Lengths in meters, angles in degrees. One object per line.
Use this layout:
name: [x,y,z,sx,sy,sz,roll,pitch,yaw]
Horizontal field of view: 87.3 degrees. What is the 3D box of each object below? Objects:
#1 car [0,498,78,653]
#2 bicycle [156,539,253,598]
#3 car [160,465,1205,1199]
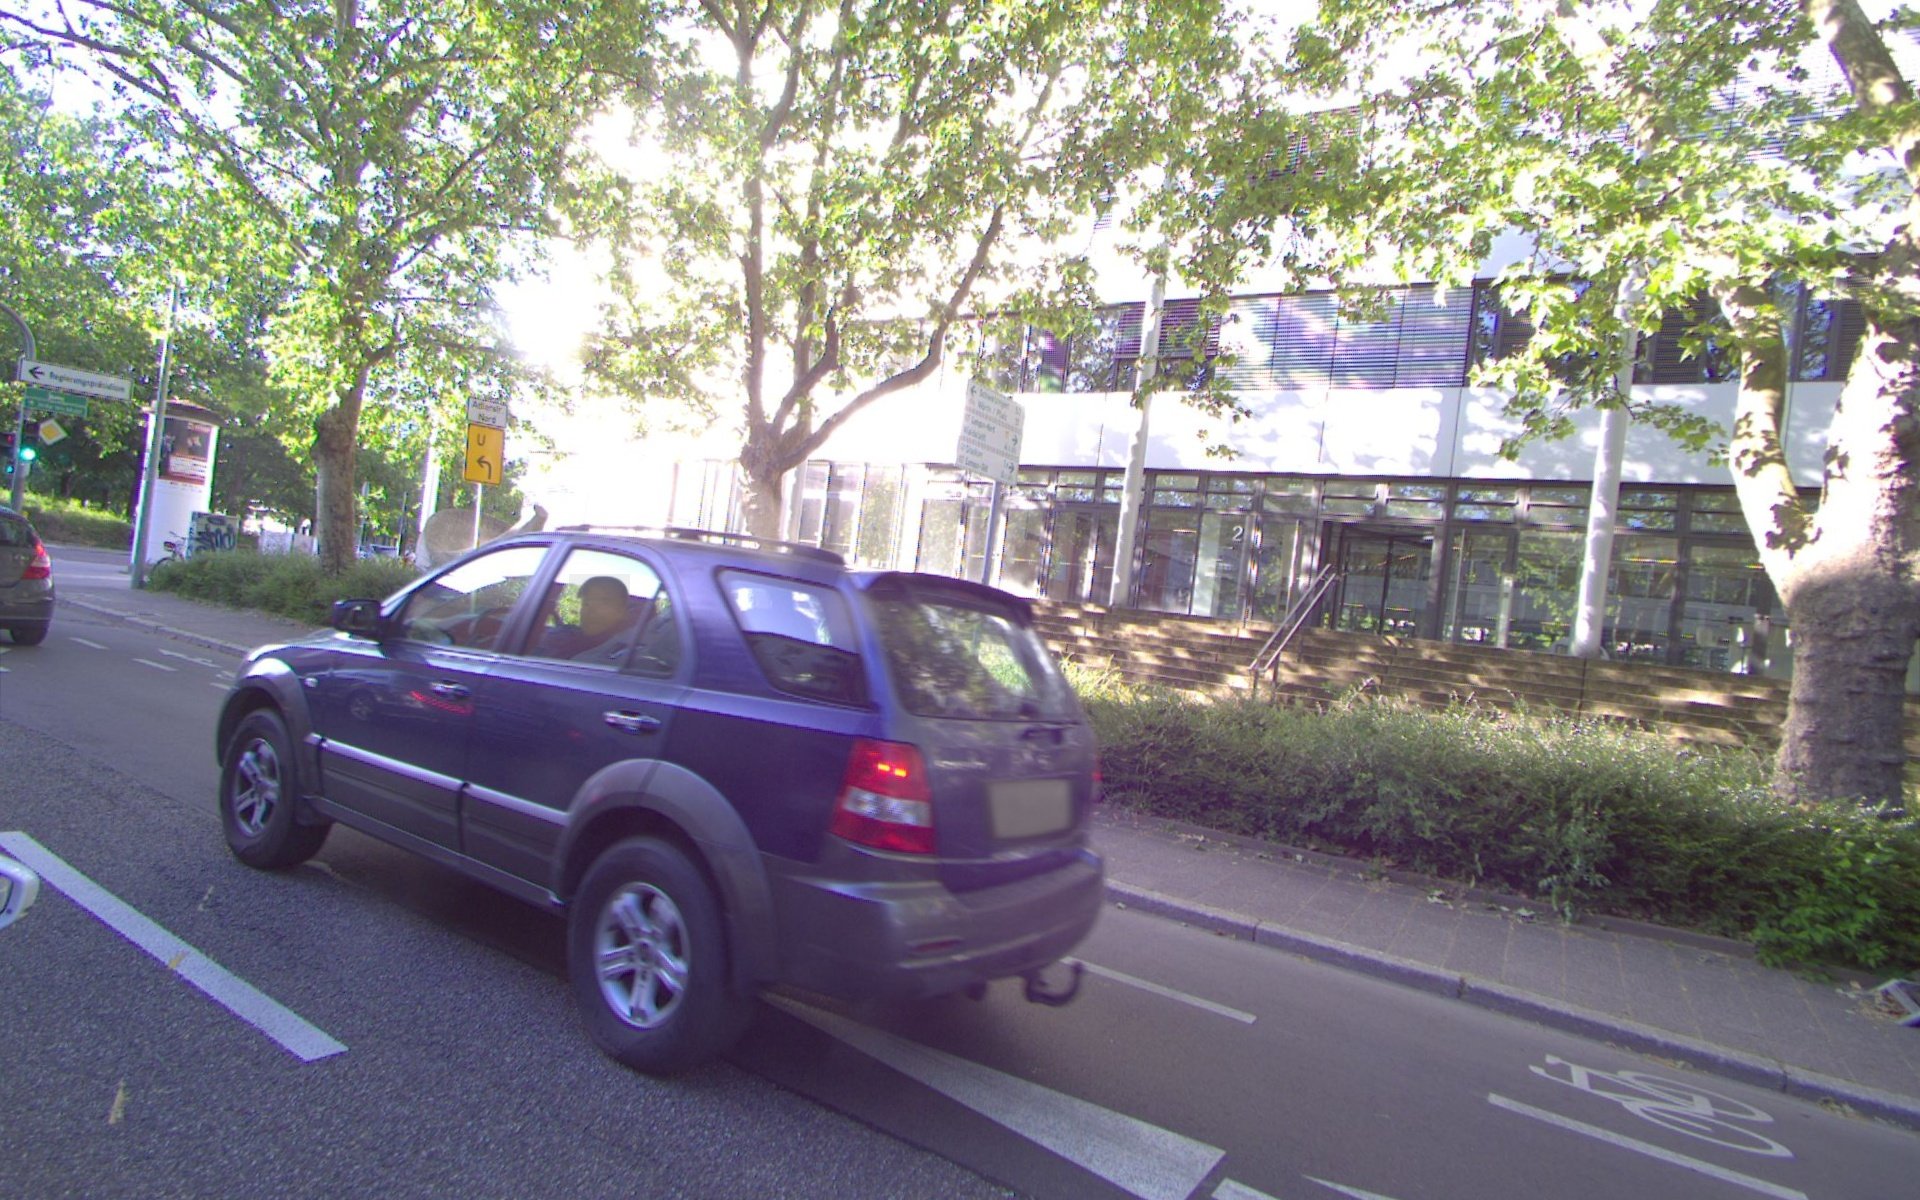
car: [-11.542,-0.477,10.970,3.934,1.537,1.708,7,-1,32]
bicycle: [-15.913,-0.638,21.252,0.631,1.040,1.887,7,-2,-5]
car: [-1.432,0.534,4.516,4.407,1.784,1.865,7,-1,32]
